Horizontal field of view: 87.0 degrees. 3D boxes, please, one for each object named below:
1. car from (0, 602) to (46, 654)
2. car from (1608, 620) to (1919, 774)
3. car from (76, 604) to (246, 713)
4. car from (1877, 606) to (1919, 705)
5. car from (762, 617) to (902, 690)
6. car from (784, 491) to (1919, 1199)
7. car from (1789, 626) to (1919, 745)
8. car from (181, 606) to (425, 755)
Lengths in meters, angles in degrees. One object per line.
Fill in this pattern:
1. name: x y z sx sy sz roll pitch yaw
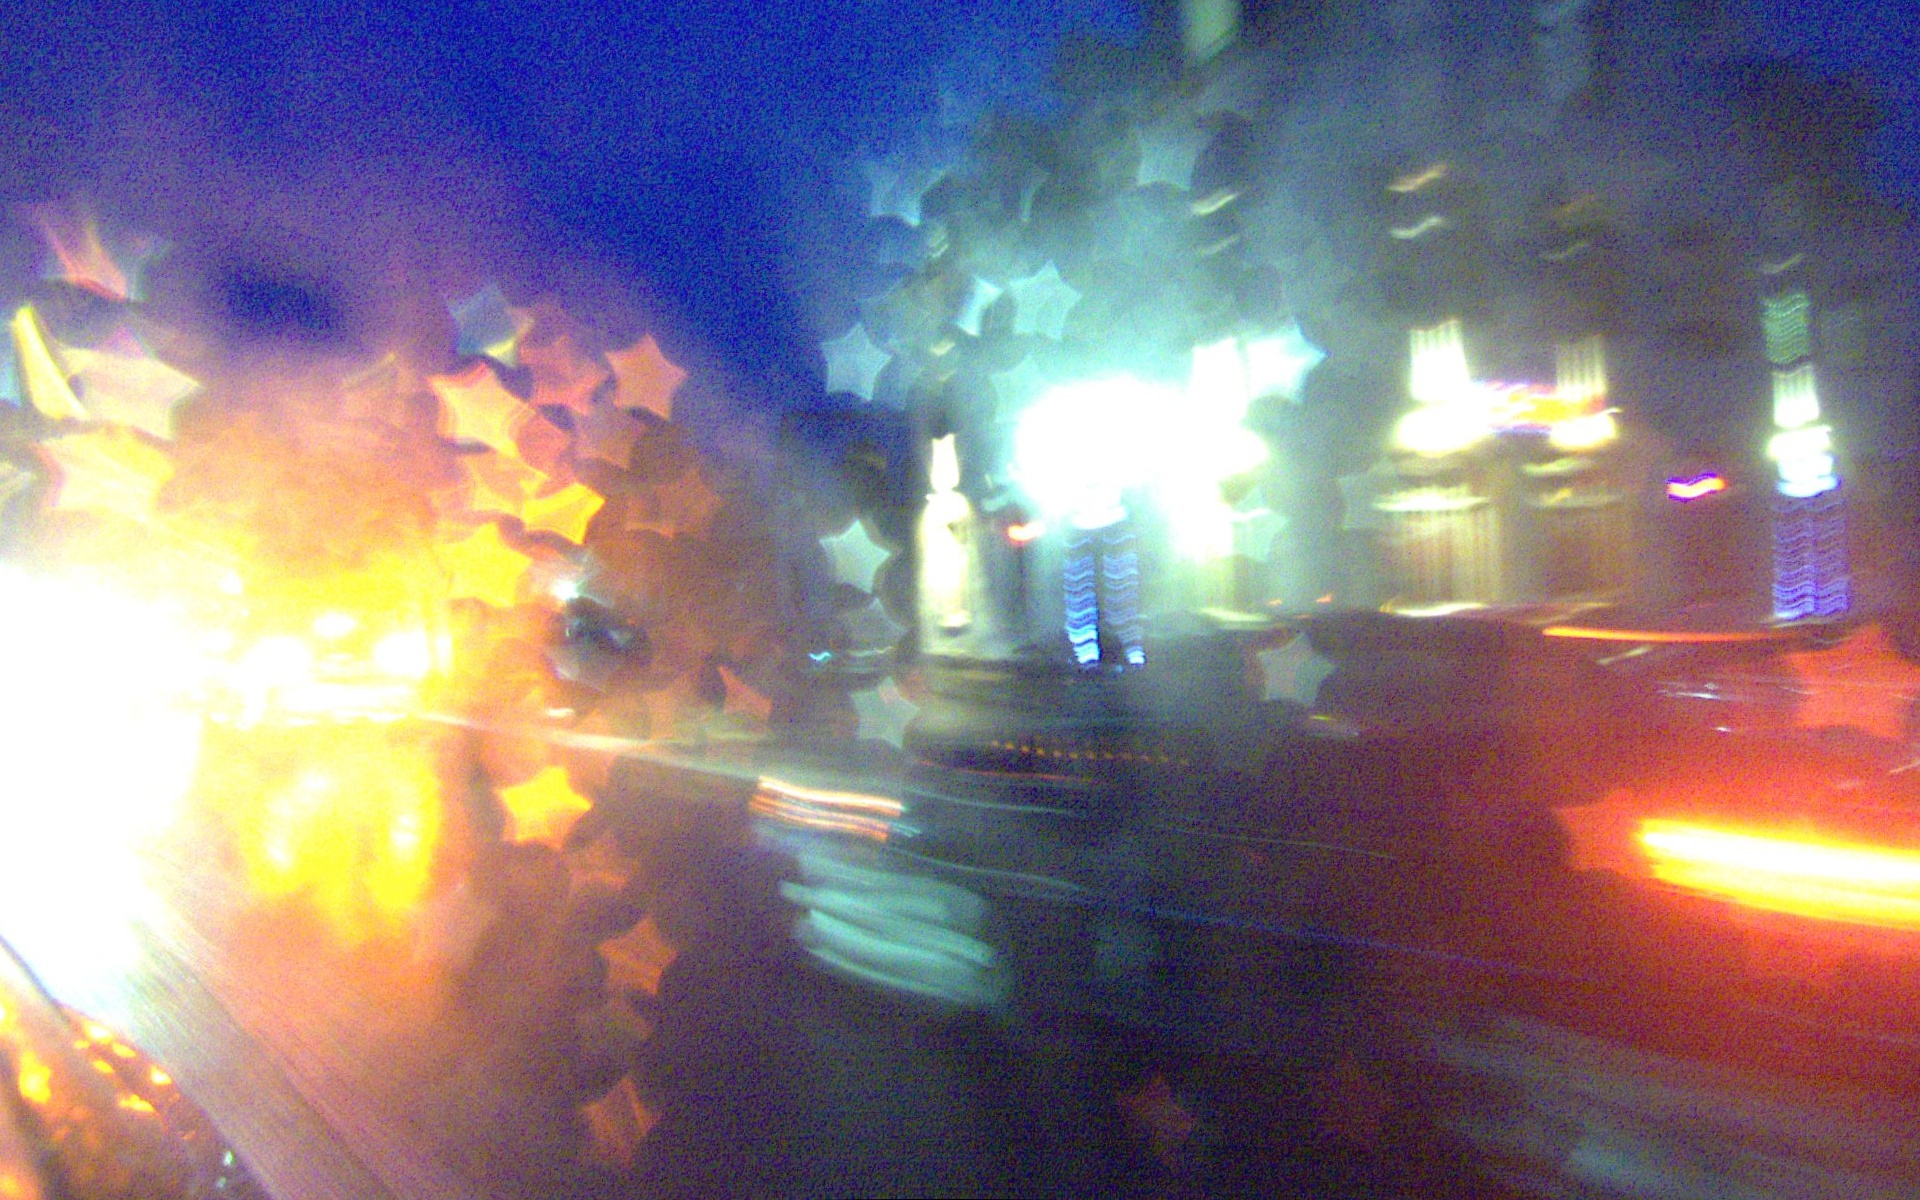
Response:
1. car: -34.218 0.964 36.283 1.930 1.734 4.008 0 0 -39
2. car: 10.037 1.011 10.976 1.818 1.386 4.750 -1 2 -31
3. car: -13.924 0.897 17.539 1.933 1.533 4.404 -2 2 -43
4. car: 15.131 0.852 13.634 1.664 1.408 3.743 2 0 -28
5. car: -2.857 1.107 21.853 1.664 1.409 4.163 2 -2 -27
6. car: 1.286 0.631 3.366 3.799 1.611 1.678 -1 -1 41
7. car: 12.814 1.120 12.387 1.664 1.408 3.743 2 0 -28
8. car: -8.157 0.862 12.430 3.870 1.487 1.693 -1 1 44
